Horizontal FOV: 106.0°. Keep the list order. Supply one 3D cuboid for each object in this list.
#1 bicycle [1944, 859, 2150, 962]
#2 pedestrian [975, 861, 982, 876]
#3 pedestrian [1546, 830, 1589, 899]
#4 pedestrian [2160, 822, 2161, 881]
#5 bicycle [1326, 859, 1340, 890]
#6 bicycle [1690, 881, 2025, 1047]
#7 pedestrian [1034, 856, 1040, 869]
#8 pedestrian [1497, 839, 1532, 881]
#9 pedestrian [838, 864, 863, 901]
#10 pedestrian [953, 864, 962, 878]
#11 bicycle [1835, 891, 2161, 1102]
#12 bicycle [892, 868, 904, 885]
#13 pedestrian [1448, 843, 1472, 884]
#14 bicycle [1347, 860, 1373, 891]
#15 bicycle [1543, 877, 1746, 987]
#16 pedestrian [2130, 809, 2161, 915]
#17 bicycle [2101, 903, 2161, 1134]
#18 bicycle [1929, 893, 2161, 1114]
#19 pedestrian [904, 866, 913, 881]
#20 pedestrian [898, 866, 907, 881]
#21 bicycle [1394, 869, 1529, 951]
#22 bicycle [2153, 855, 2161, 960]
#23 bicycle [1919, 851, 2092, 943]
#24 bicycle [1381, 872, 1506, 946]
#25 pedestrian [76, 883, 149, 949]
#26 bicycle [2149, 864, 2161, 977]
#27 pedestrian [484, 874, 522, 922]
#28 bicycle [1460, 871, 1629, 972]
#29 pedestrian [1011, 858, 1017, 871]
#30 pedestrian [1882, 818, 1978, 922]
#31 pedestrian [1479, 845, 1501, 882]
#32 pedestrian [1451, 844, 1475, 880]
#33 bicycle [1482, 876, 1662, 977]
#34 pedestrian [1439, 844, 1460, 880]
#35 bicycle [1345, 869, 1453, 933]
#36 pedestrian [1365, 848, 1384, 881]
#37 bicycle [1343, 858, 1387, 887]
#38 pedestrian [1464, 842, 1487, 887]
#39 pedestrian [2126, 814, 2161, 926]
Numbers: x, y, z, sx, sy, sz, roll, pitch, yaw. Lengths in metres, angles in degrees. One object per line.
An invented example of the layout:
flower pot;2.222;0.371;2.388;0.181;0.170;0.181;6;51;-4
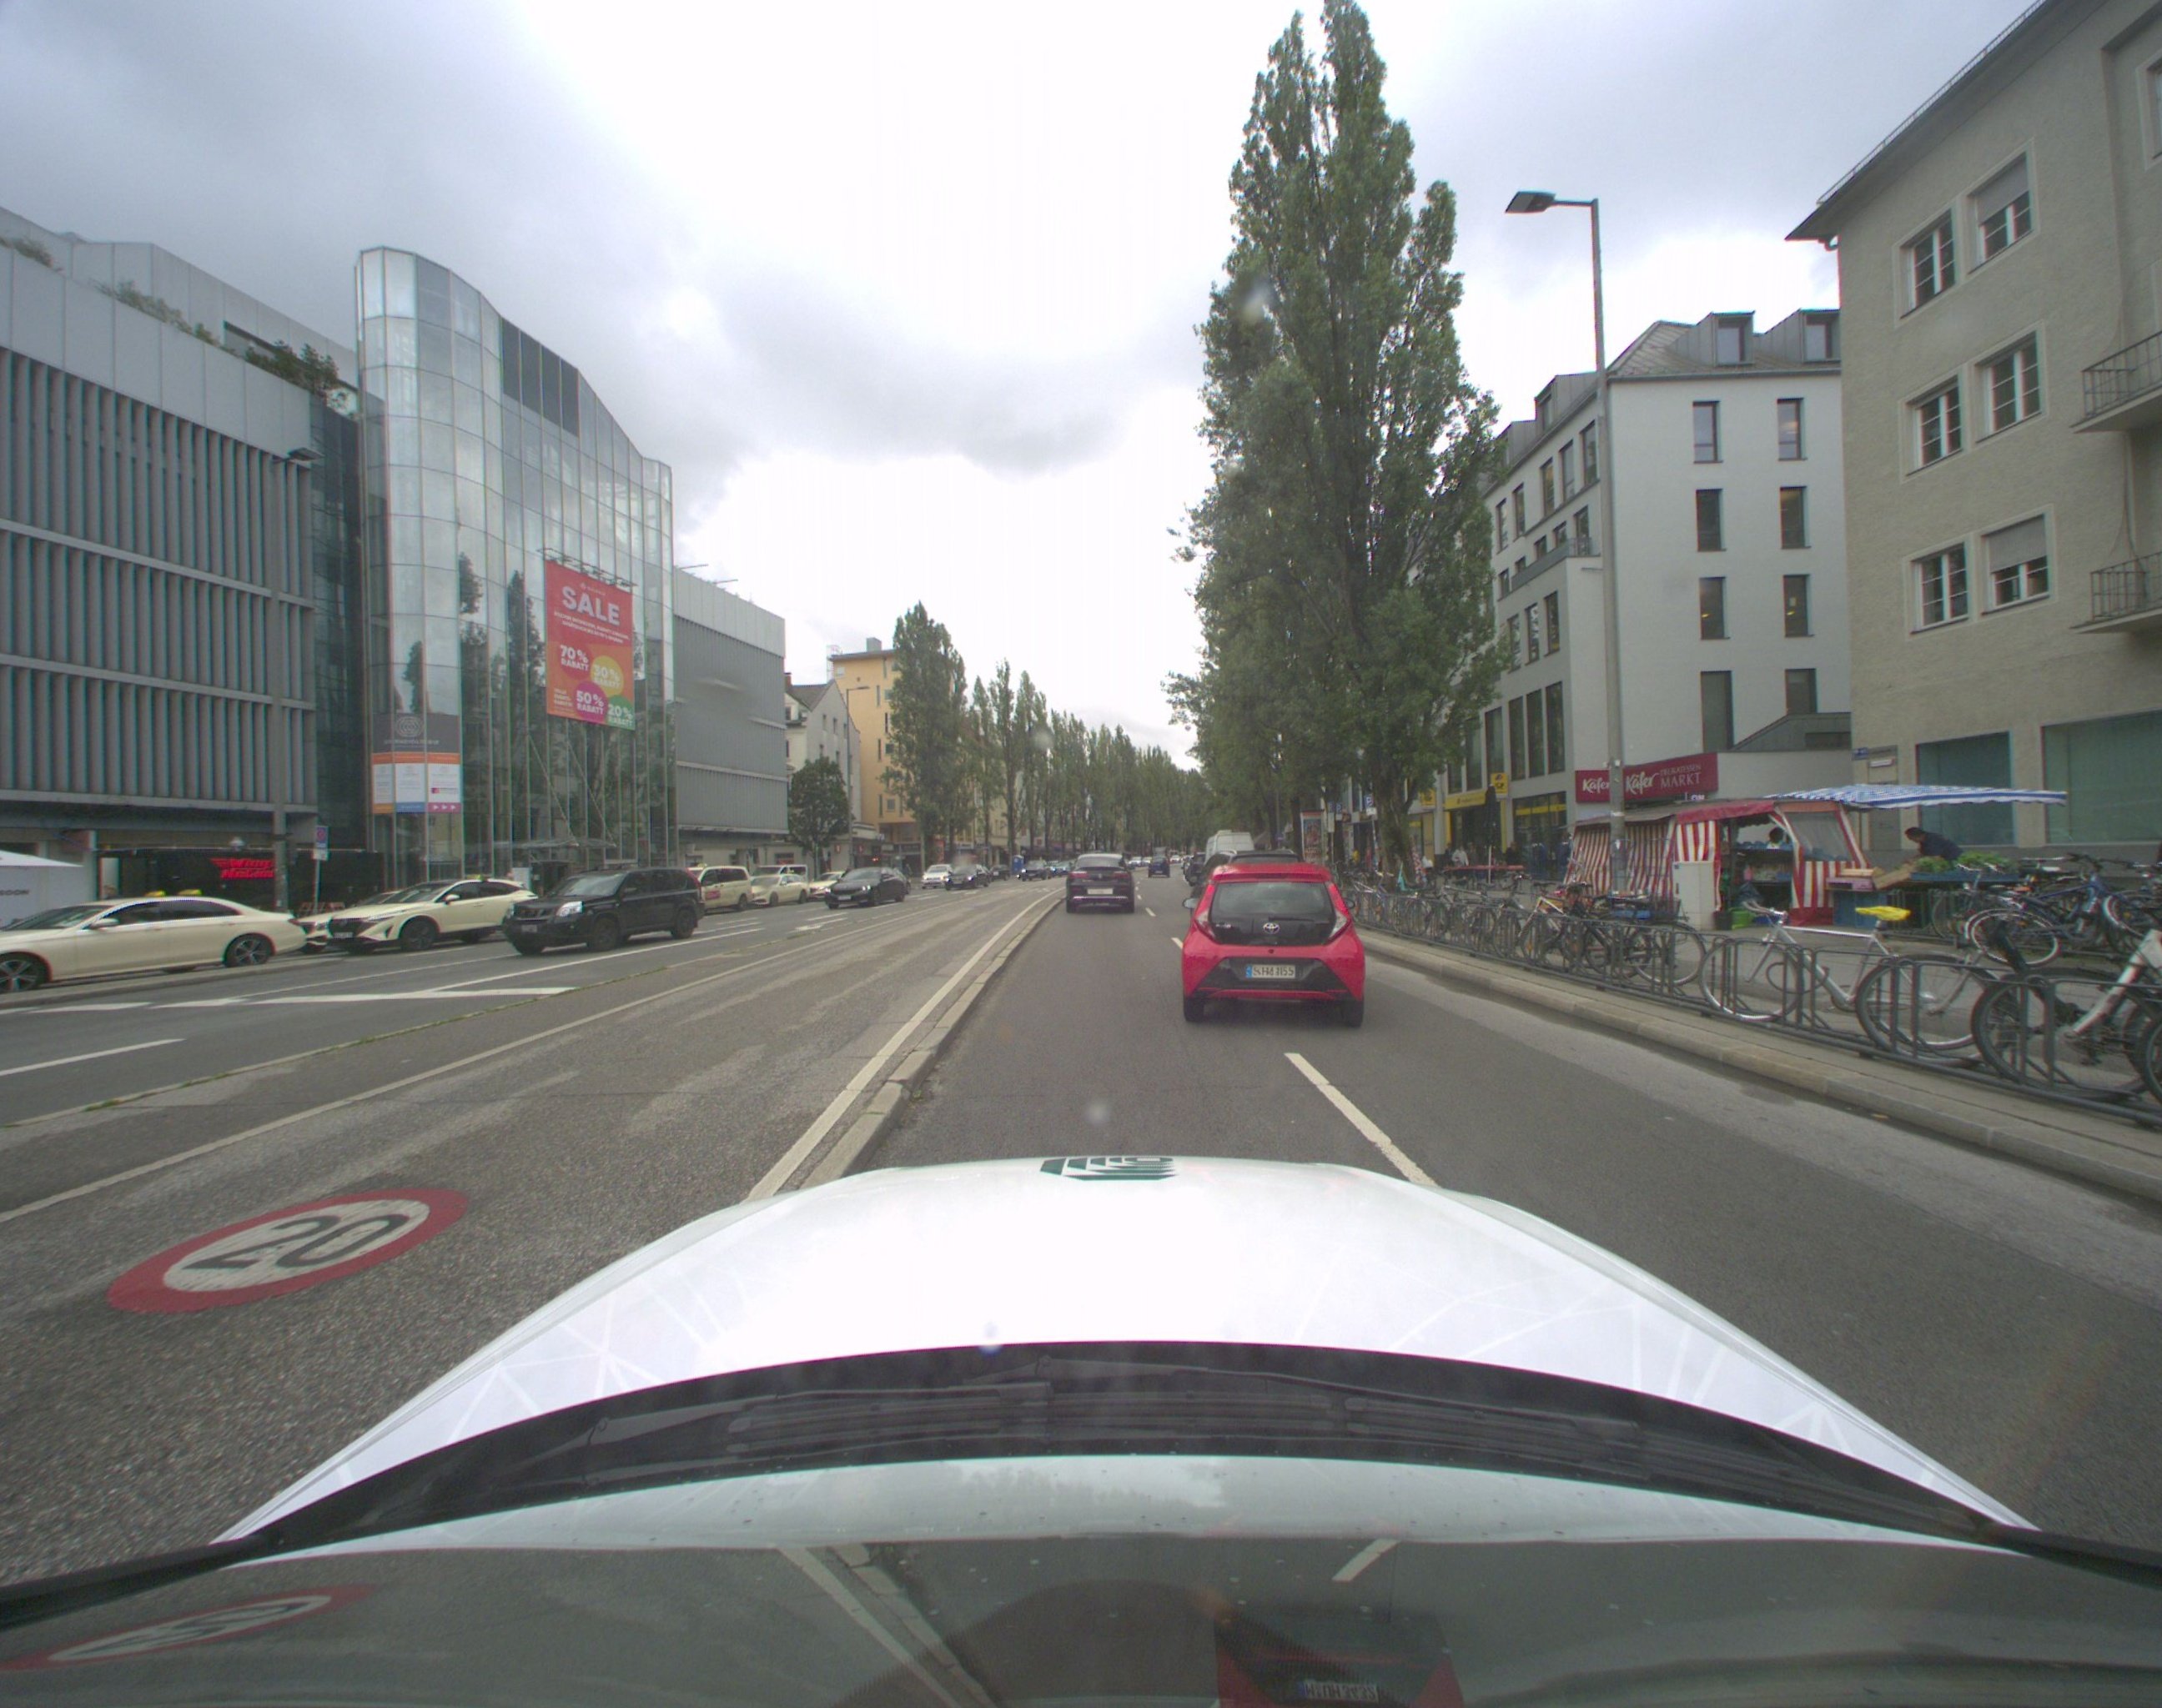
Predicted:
bicycle;10.722;0.628;9.086;1.458;1.078;0.412;-3;-1;16
pedestrian;-12.085;1.729;95.792;0.535;1.747;0.758;-1;-1;14
pedestrian;12.910;0.275;21.625;0.789;1.796;0.573;-1;-1;7
pedestrian;16.498;0.282;11.990;0.557;1.540;0.466;0;-1;2
bicycle;9.964;0.801;32.207;0.473;1.160;1.833;-1;0;18
bicycle;5.789;0.769;6.217;1.779;1.010;0.388;3;1;39
pedestrian;-6.280;1.267;117.548;0.633;1.862;0.650;-2;-1;14
pedestrian;17.430;0.229;32.756;0.797;1.637;1.024;-2;0;1
pedestrian;-11.834;1.456;41.799;0.778;1.867;0.852;-2;-1;31
pedestrian;-13.733;1.881;90.690;0.629;1.561;0.819;-2;0;15
bicycle;5.725;0.811;4.839;1.779;1.059;0.400;3;1;39
bicycle;-13.454;1.621;59.869;0.365;1.201;1.158;-2;0;15
pedestrian;14.811;0.378;31.878;0.638;1.583;0.636;-3;-1;9
bicycle;11.049;0.829;32.254;0.475;1.160;1.634;-1;0;2
bicycle;6.128;0.809;8.935;1.779;1.010;0.388;3;1;39
pedestrian;17.245;0.128;12.908;0.537;1.674;0.505;0;-1;0
bicycle;5.759;0.809;3.389;0.400;1.059;1.830;1;1;-44
bicycle;5.742;0.801;4.221;0.400;1.059;1.830;1;1;-44
pedestrian;-16.777;1.881;79.240;0.630;1.435;0.778;-2;0;0
pedestrian;-17.393;1.886;79.283;0.630;1.435;0.778;-2;0;0
bicycle;5.877;0.830;12.635;1.779;1.105;0.550;3;1;39
bicycle;12.090;0.518;8.243;1.619;1.103;0.411;-3;-1;9
bicycle;12.089;0.556;10.678;1.621;1.103;0.411;-3;-1;5
bicycle;5.854;0.862;13.222;1.779;1.054;0.369;3;1;39
pedestrian;-23.973;1.511;20.167;0.726;1.546;0.902;-2;0;14
bicycle;11.033;0.596;7.567;1.471;1.078;0.411;-3;-1;5
pedestrian;-22.272;1.683;31.383;0.783;1.805;0.821;-2;-1;13
bicycle;5.875;0.812;10.387;1.779;1.105;0.550;3;1;39
pedestrian;-8.931;1.433;108.903;0.633;1.700;0.650;-2;-1;14
pedestrian;14.204;0.262;13.647;0.791;1.673;0.729;-2;-1;0
pedestrian;16.381;0.375;32.621;0.641;1.476;0.764;-1;-2;39
pedestrian;17.280;0.350;36.844;0.688;1.585;0.773;-2;-1;1
bicycle;5.808;0.824;9.722;1.779;1.010;0.388;3;1;44
pedestrian;17.542;0.379;38.794;0.686;1.649;0.800;-2;-1;10
bicycle;5.957;0.852;15.333;1.779;1.054;0.550;3;1;39
pedestrian;15.657;0.550;43.449;0.712;1.724;0.744;-3;-1;38
bicycle;11.698;0.750;33.570;1.616;1.160;0.708;-1;0;14
pedestrian;15.460;0.408;31.932;0.576;1.701;0.598;-3;-1;9
pedestrian;15.073;0.207;11.090;0.674;1.528;0.730;-2;-1;3
